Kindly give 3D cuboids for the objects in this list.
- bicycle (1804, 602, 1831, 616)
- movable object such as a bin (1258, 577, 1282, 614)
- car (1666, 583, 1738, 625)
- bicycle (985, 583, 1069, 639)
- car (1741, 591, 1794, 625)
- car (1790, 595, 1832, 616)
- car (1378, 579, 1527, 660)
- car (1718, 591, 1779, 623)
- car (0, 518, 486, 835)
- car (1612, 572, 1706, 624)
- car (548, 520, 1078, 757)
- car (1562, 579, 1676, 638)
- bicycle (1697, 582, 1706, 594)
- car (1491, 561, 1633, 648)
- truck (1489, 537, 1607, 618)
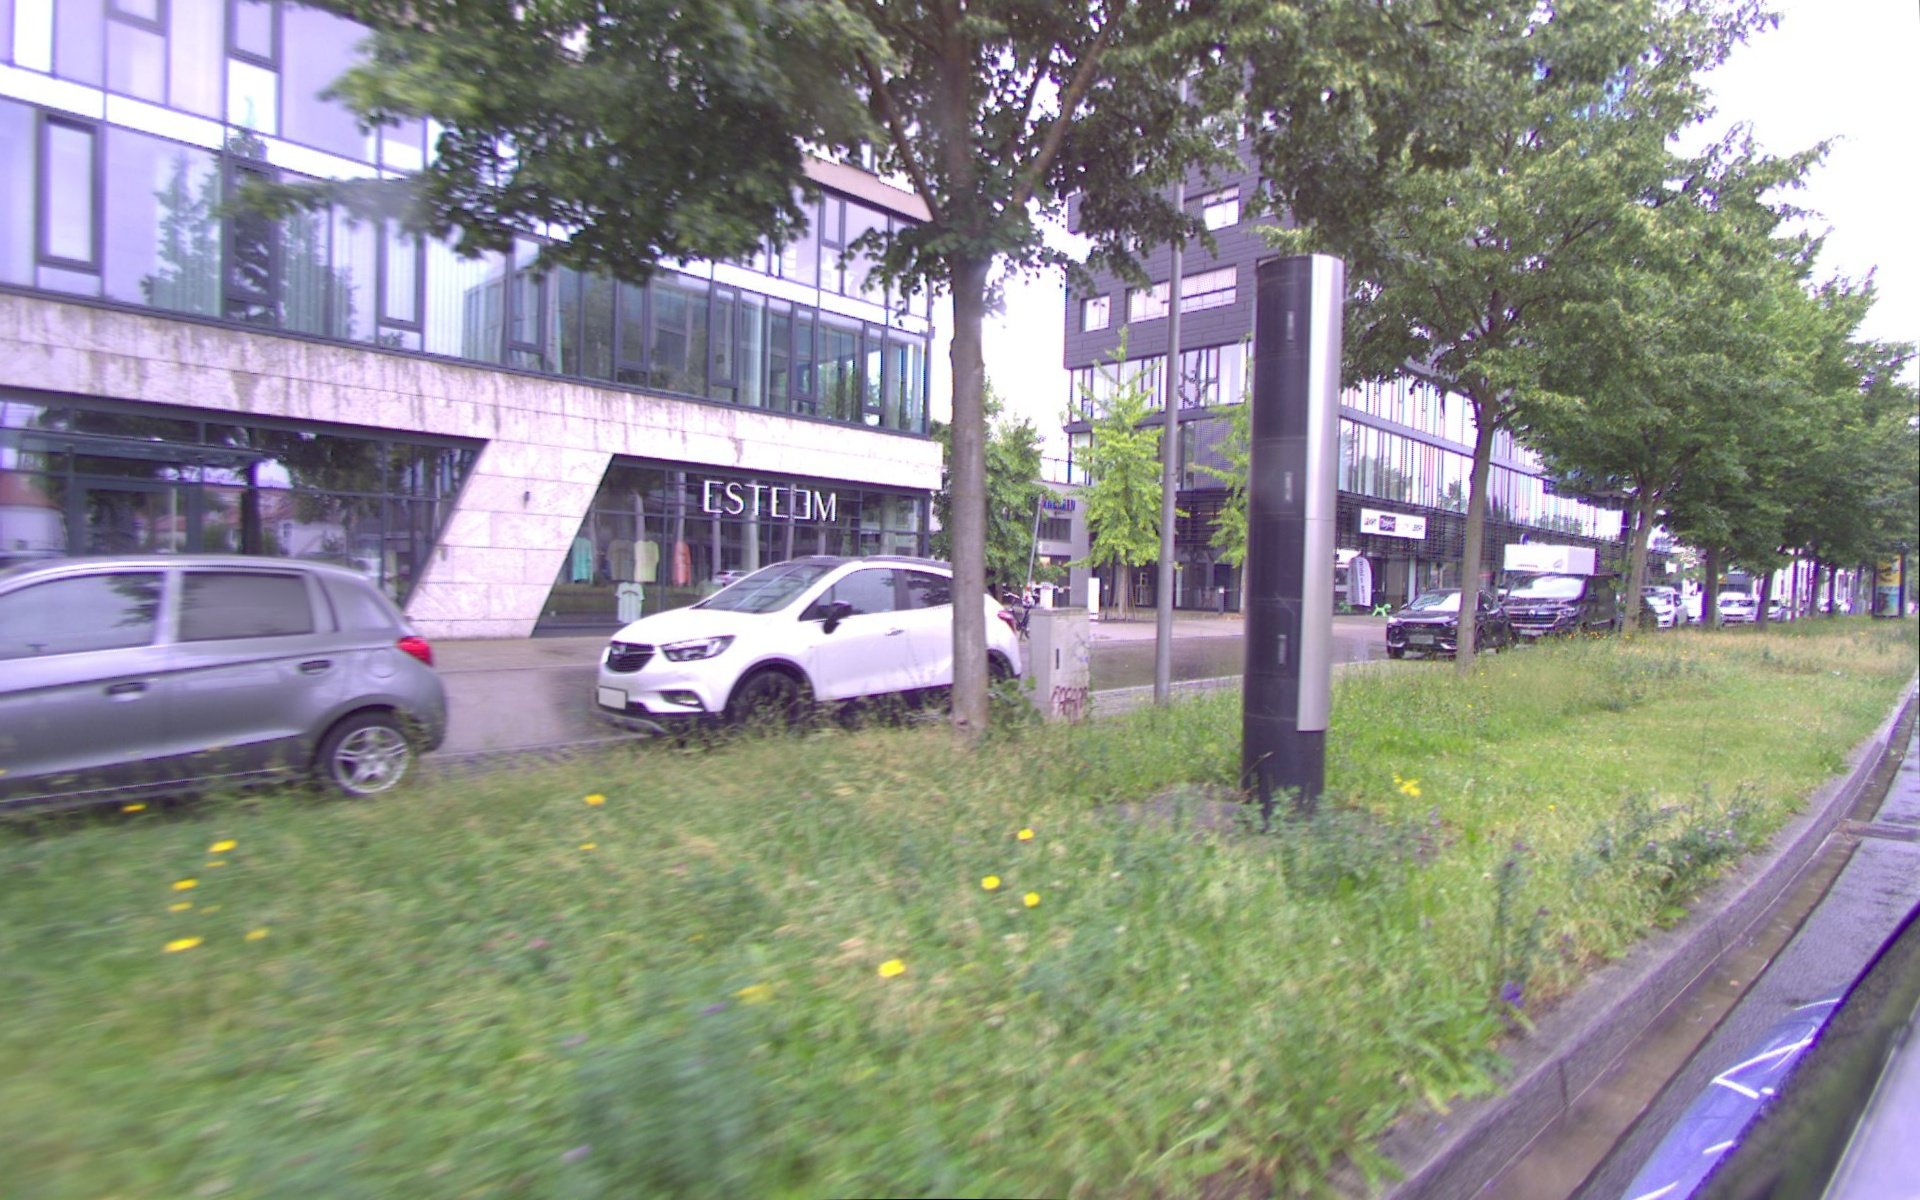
[{"bbox_3d":[59.748,0.591,70.542,0.424,0.929,1.465,3,0,-12],"label":"bicycle"},{"bbox_3d":[11.390,-0.163,37.174,0.607,1.292,0.638,2,-1,41],"label":"movable object such as a bin"},{"bbox_3d":[29.165,0.202,39.728,1.768,1.471,4.649,-2,-3,43],"label":"car"},{"bbox_3d":[1.465,0.223,21.790,2.029,1.144,0.519,0,1,-42],"label":"bicycle"},{"bbox_3d":[43.416,0.464,54.395,4.032,1.616,1.762,3,-1,-45],"label":"car"},{"bbox_3d":[64.242,0.385,76.371,4.878,1.473,1.995,1,1,-45],"label":"car"},{"bbox_3d":[10.804,0.363,22.015,1.953,1.531,4.419,2,2,39],"label":"car"},{"bbox_3d":[39.026,0.323,50.055,1.993,1.462,5.157,2,1,42],"label":"car"},{"bbox_3d":[-4.858,0.355,5.687,3.594,1.509,1.627,3,-1,-44],"label":"car"},{"bbox_3d":[24.728,-0.041,35.745,1.994,1.690,4.647,0,-1,45],"label":"car"},{"bbox_3d":[-1.146,0.329,9.574,4.645,1.690,1.995,3,-1,-45],"label":"car"},{"bbox_3d":[20.449,0.276,31.317,4.876,1.690,1.995,2,-1,-45],"label":"car"},{"bbox_3d":[59.036,-0.974,80.566,0.436,0.909,1.213,2,-1,41],"label":"bicycle"},{"bbox_3d":[15.542,0.152,25.991,1.994,1.977,4.947,2,-1,44],"label":"car"},{"bbox_3d":[27.637,-1.008,47.386,3.024,3.484,8.416,2,1,42],"label":"truck"}]
